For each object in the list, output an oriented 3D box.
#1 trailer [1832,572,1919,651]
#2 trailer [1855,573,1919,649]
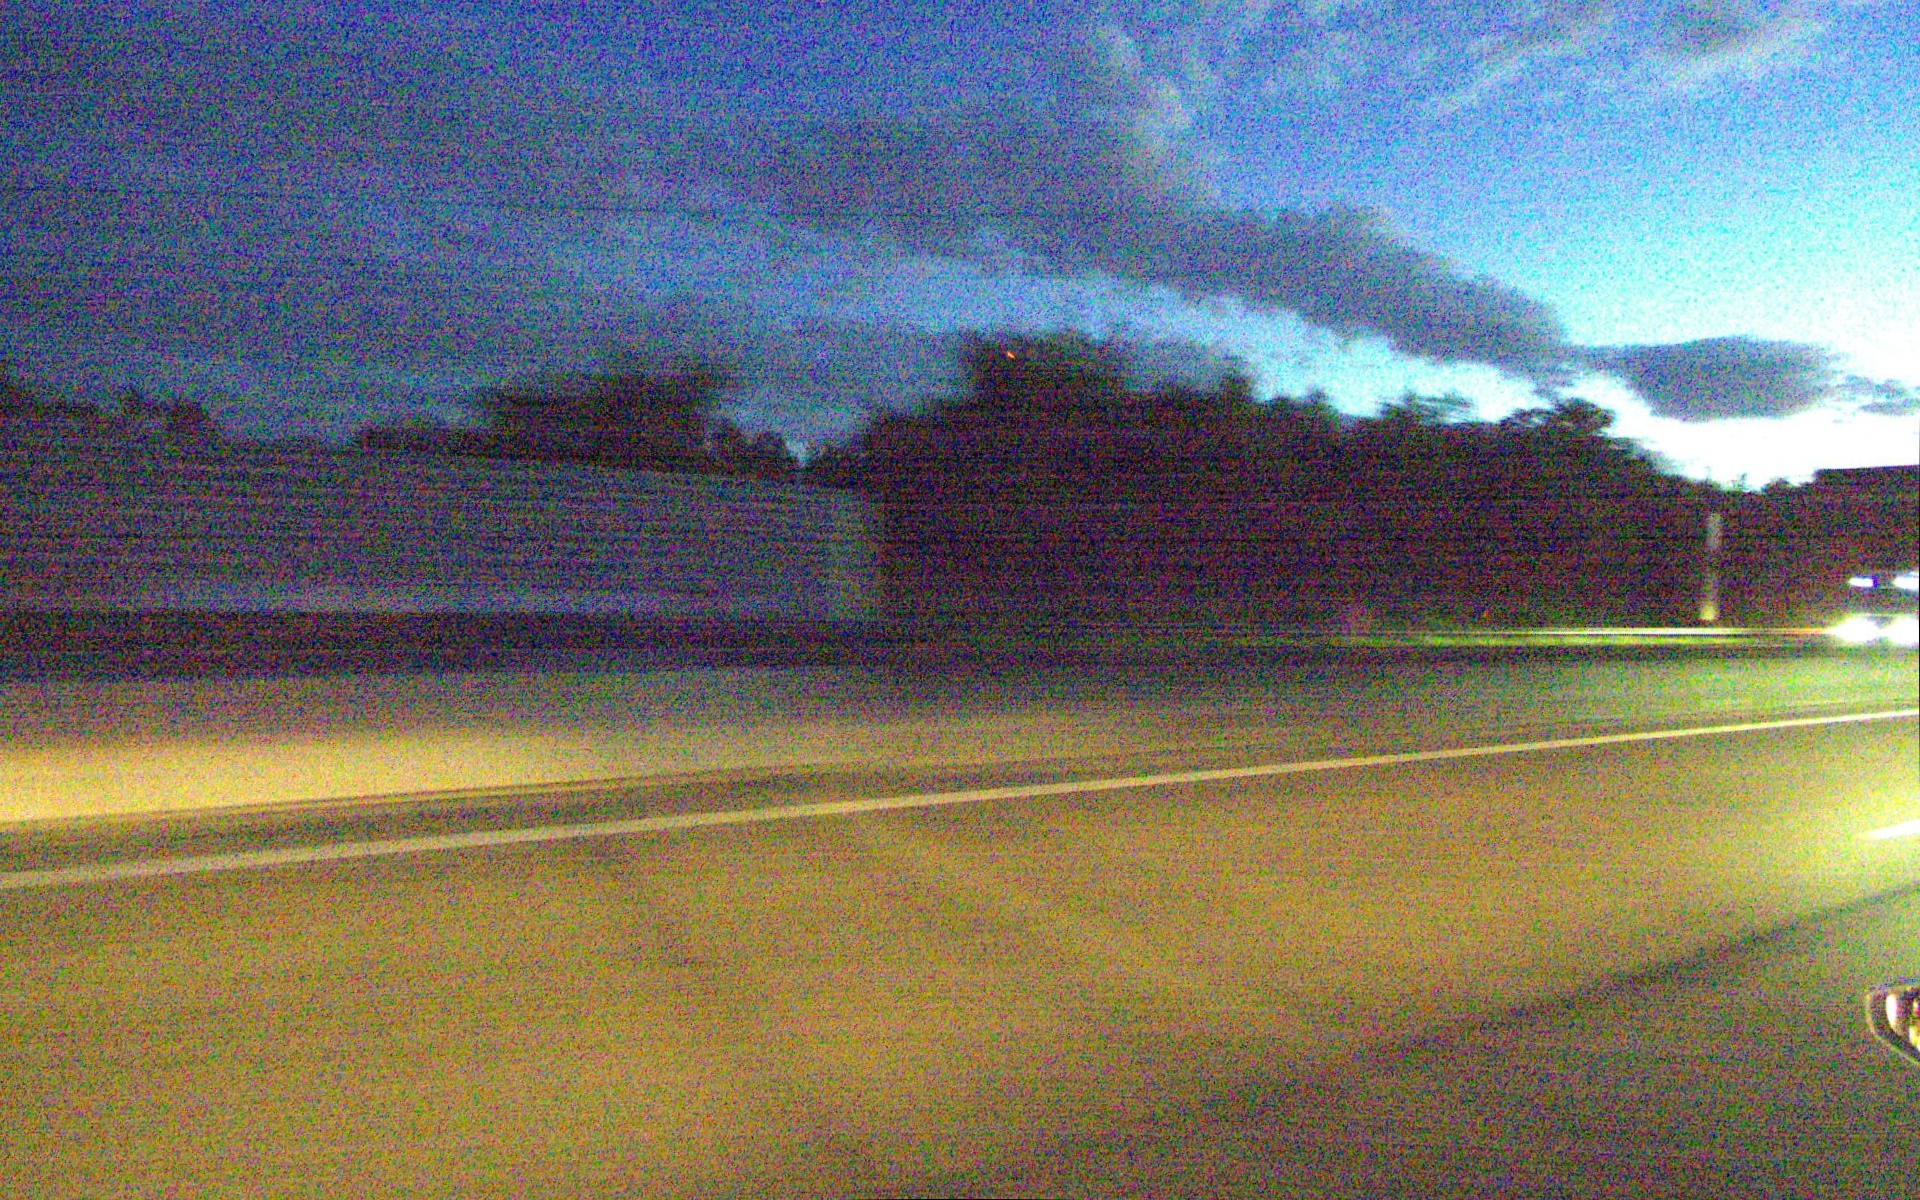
[{"bbox_3d":[51.041,0.656,54.582,7.267,4.033,3.413,1,0,-31],"label":"trailer"},{"bbox_3d":[56.563,0.728,57.887,13.885,4.033,3.413,1,0,-31],"label":"trailer"}]
